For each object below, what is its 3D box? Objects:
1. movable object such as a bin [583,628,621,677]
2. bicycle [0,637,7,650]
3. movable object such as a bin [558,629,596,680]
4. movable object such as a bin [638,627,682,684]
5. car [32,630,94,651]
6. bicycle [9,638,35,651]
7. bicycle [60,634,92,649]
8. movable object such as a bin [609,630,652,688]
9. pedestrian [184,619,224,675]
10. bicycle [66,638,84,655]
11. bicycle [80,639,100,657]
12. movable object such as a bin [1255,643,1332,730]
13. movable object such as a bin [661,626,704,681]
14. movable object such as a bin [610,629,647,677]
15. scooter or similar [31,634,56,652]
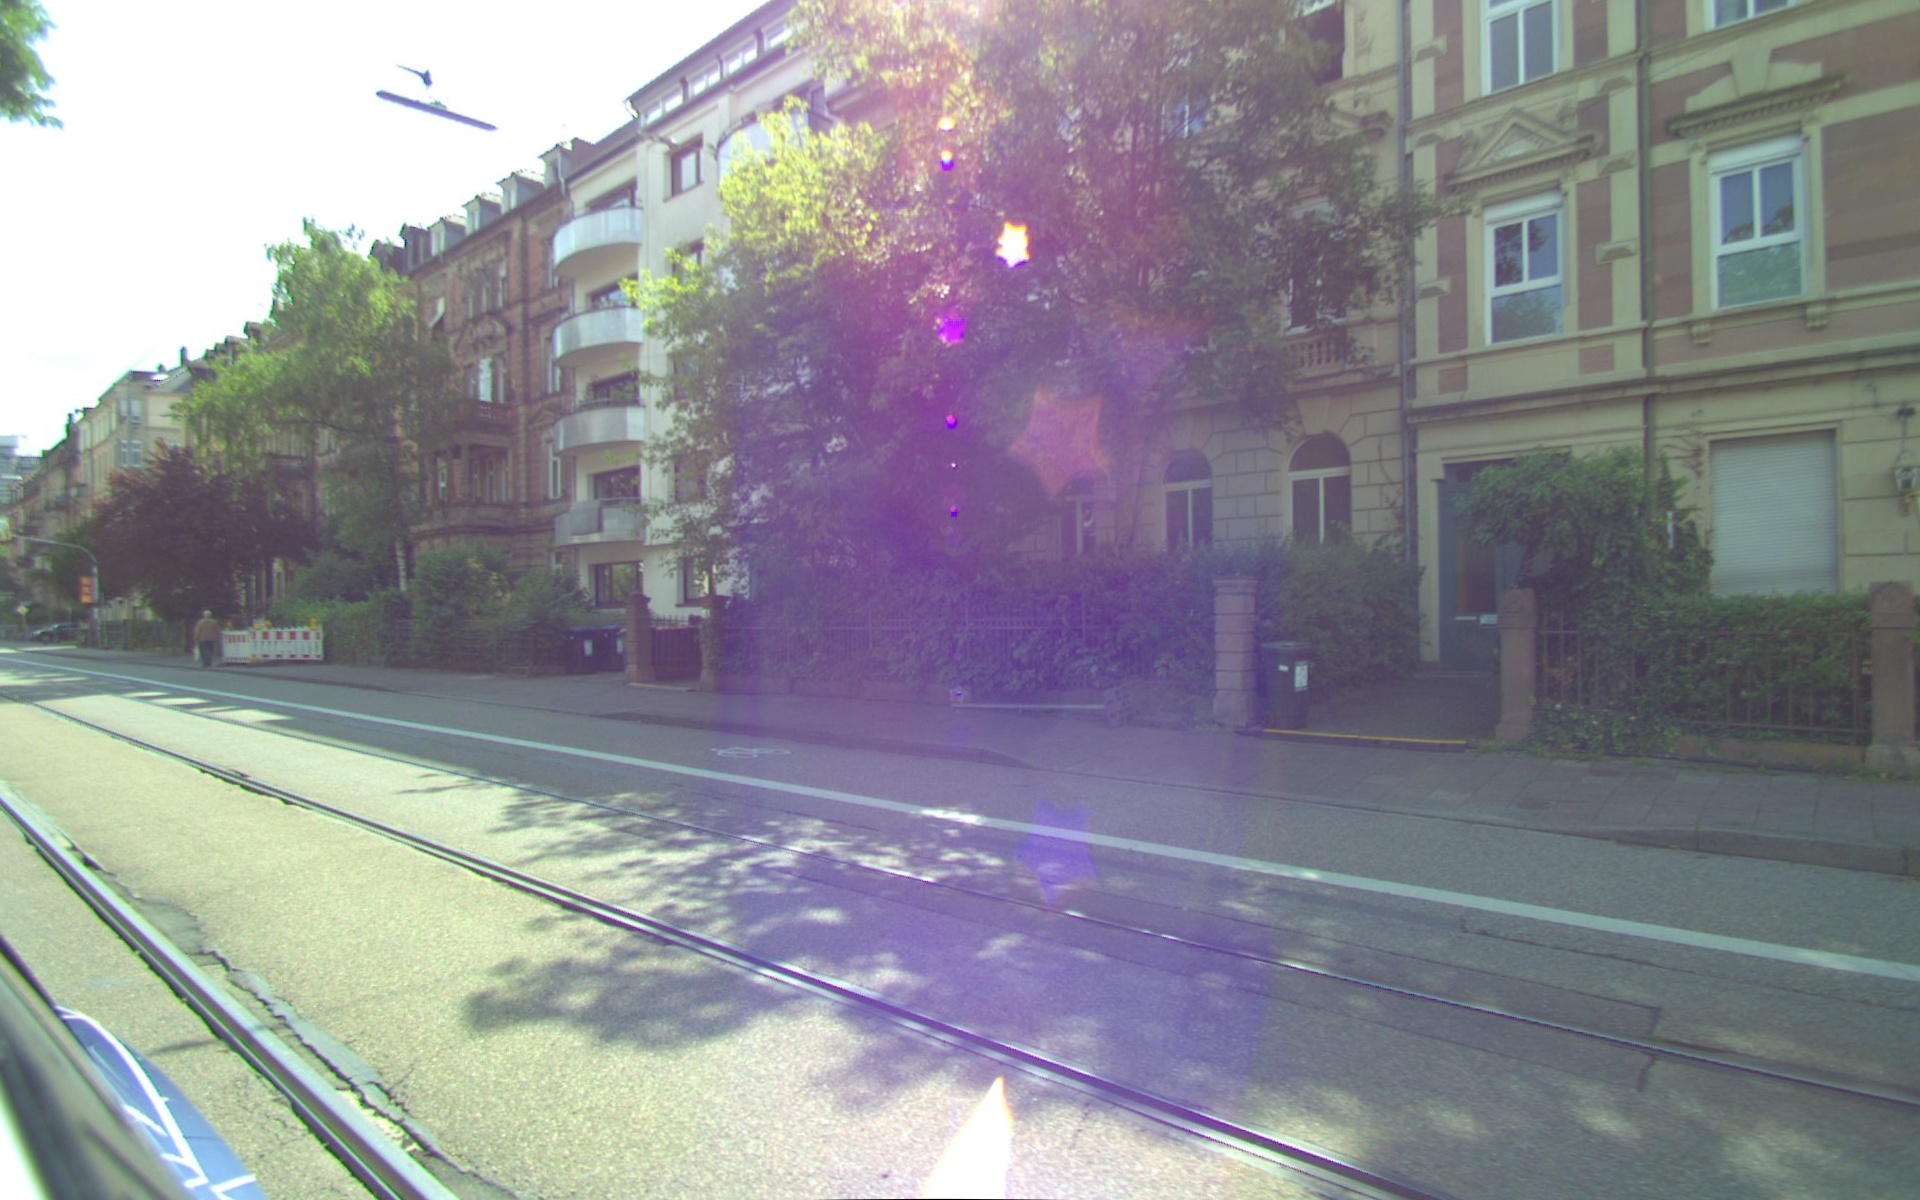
[{"bbox_3d":[-8.382,1.210,23.718,0.789,1.102,0.532,0,0,41],"label":"movable object such as a bin"},{"bbox_3d":[-76.535,3.487,80.818,1.948,0.984,0.417,-2,-1,40],"label":"bicycle"},{"bbox_3d":[-8.776,1.238,23.189,0.789,1.102,0.532,0,0,41],"label":"movable object such as a bin"},{"bbox_3d":[-6.122,1.122,20.620,0.543,1.116,0.790,0,-1,-44],"label":"movable object such as a bin"},{"bbox_3d":[-69.979,3.145,78.967,1.787,1.413,3.562,-3,-1,45],"label":"car"},{"bbox_3d":[-72.687,3.430,78.433,0.404,0.984,1.438,-2,-2,40],"label":"bicycle"},{"bbox_3d":[-66.770,3.163,76.428,0.523,1.071,1.738,-3,-2,35],"label":"bicycle"},{"bbox_3d":[-6.591,1.165,20.233,0.531,1.103,0.790,0,-1,-44],"label":"movable object such as a bin"},{"bbox_3d":[-23.812,1.455,31.868,0.890,1.719,0.815,-2,-1,38],"label":"pedestrian"},{"bbox_3d":[-50.532,2.646,57.773,1.966,0.954,0.524,-2,-1,41],"label":"bicycle"},{"bbox_3d":[-47.765,2.634,55.556,1.966,0.954,0.524,-2,-1,41],"label":"bicycle"},{"bbox_3d":[3.618,0.922,10.985,0.616,0.883,0.556,-2,-1,41],"label":"movable object such as a bin"},{"bbox_3d":[-5.782,1.101,21.079,0.543,1.116,0.790,0,-1,-44],"label":"movable object such as a bin"},{"bbox_3d":[-7.923,1.254,24.181,0.789,1.102,0.532,0,0,41],"label":"movable object such as a bin"},{"bbox_3d":[-66.084,3.098,72.987,0.400,1.244,1.360,-1,0,12],"label":"scooter or similar"}]
